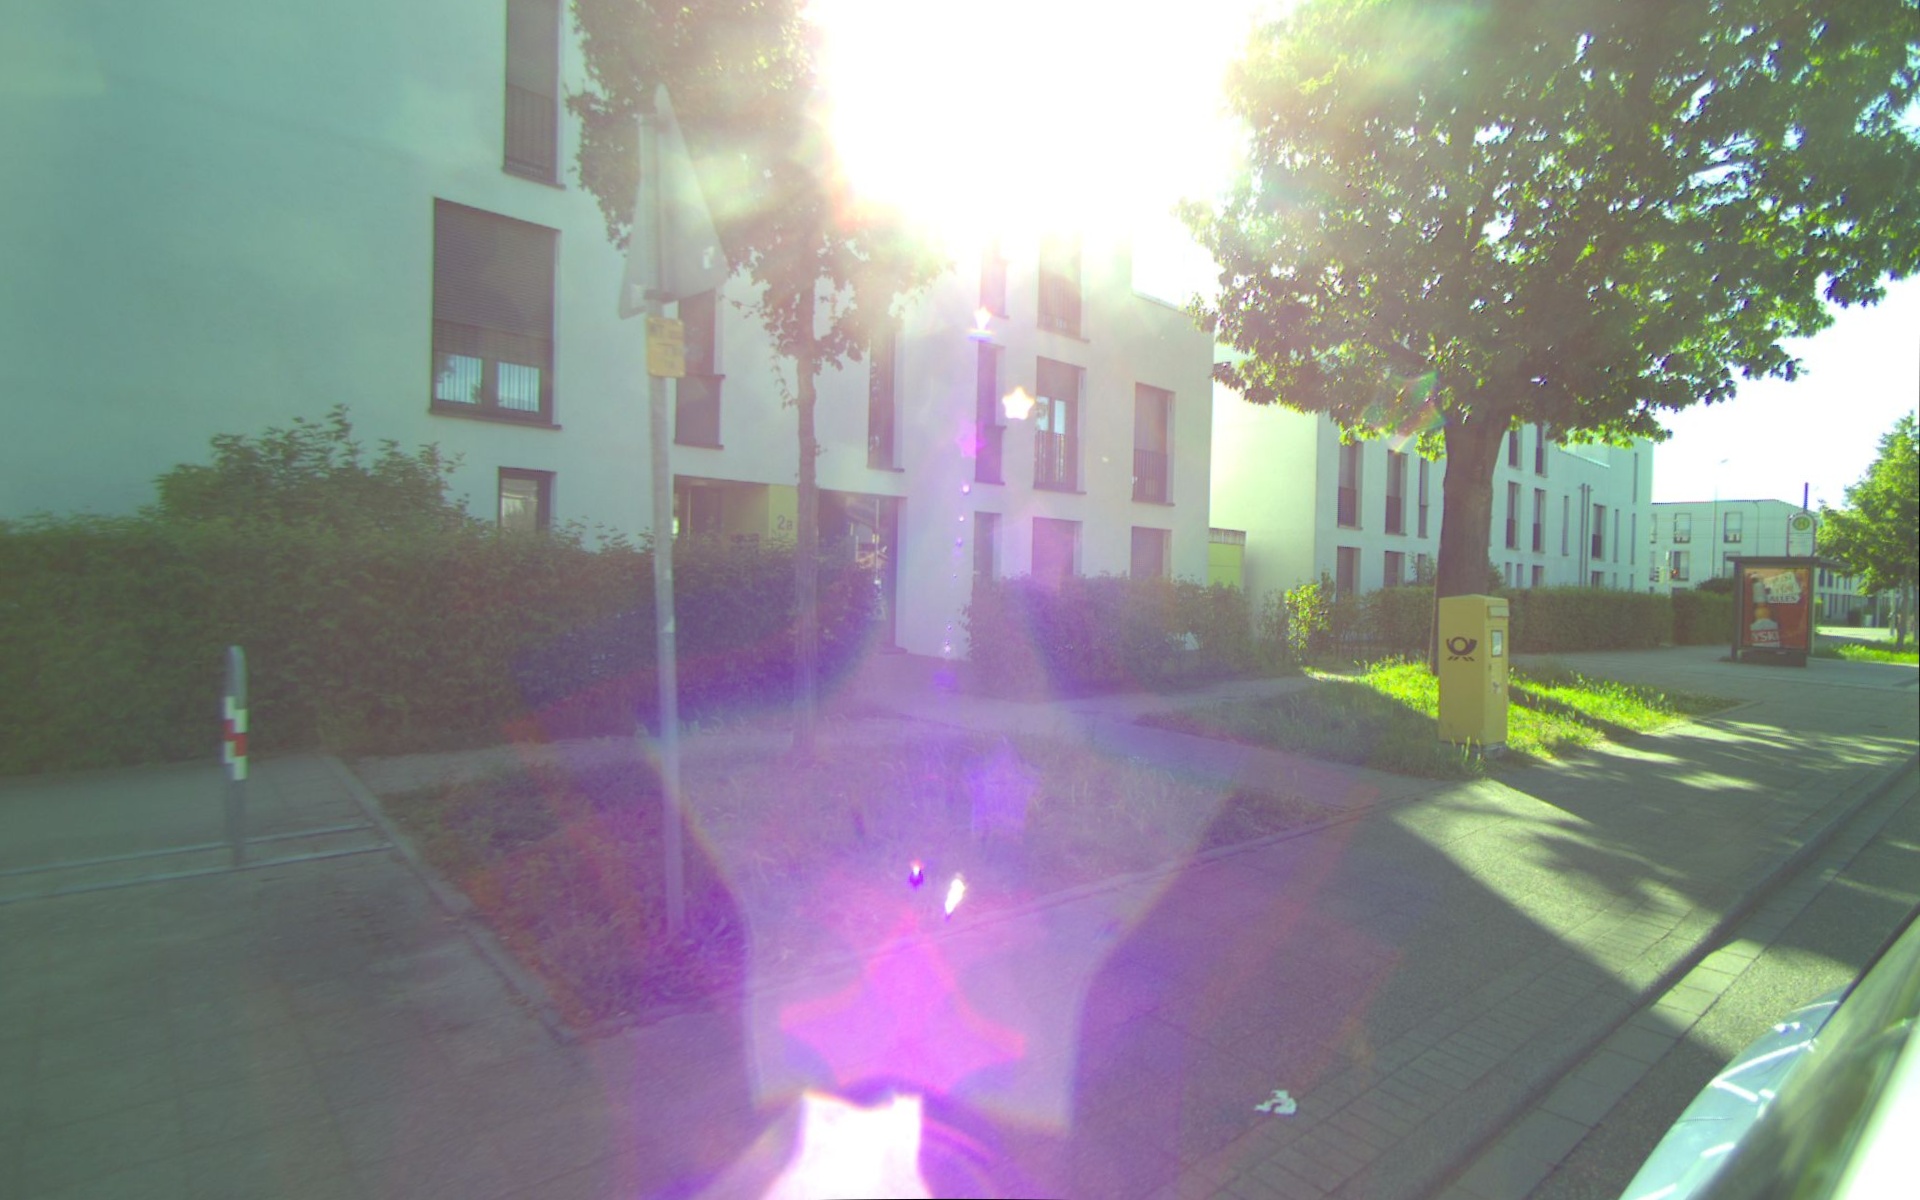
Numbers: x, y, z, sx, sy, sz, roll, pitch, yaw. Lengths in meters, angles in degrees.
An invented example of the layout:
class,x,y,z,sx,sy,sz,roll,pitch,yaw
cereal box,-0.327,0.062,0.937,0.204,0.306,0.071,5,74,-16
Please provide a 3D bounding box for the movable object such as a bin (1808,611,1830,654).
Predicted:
class,x,y,z,sx,sy,sz,roll,pitch,yaw
movable object such as a bin,21.156,0.785,24.925,0.368,1.029,0.591,2,1,38
